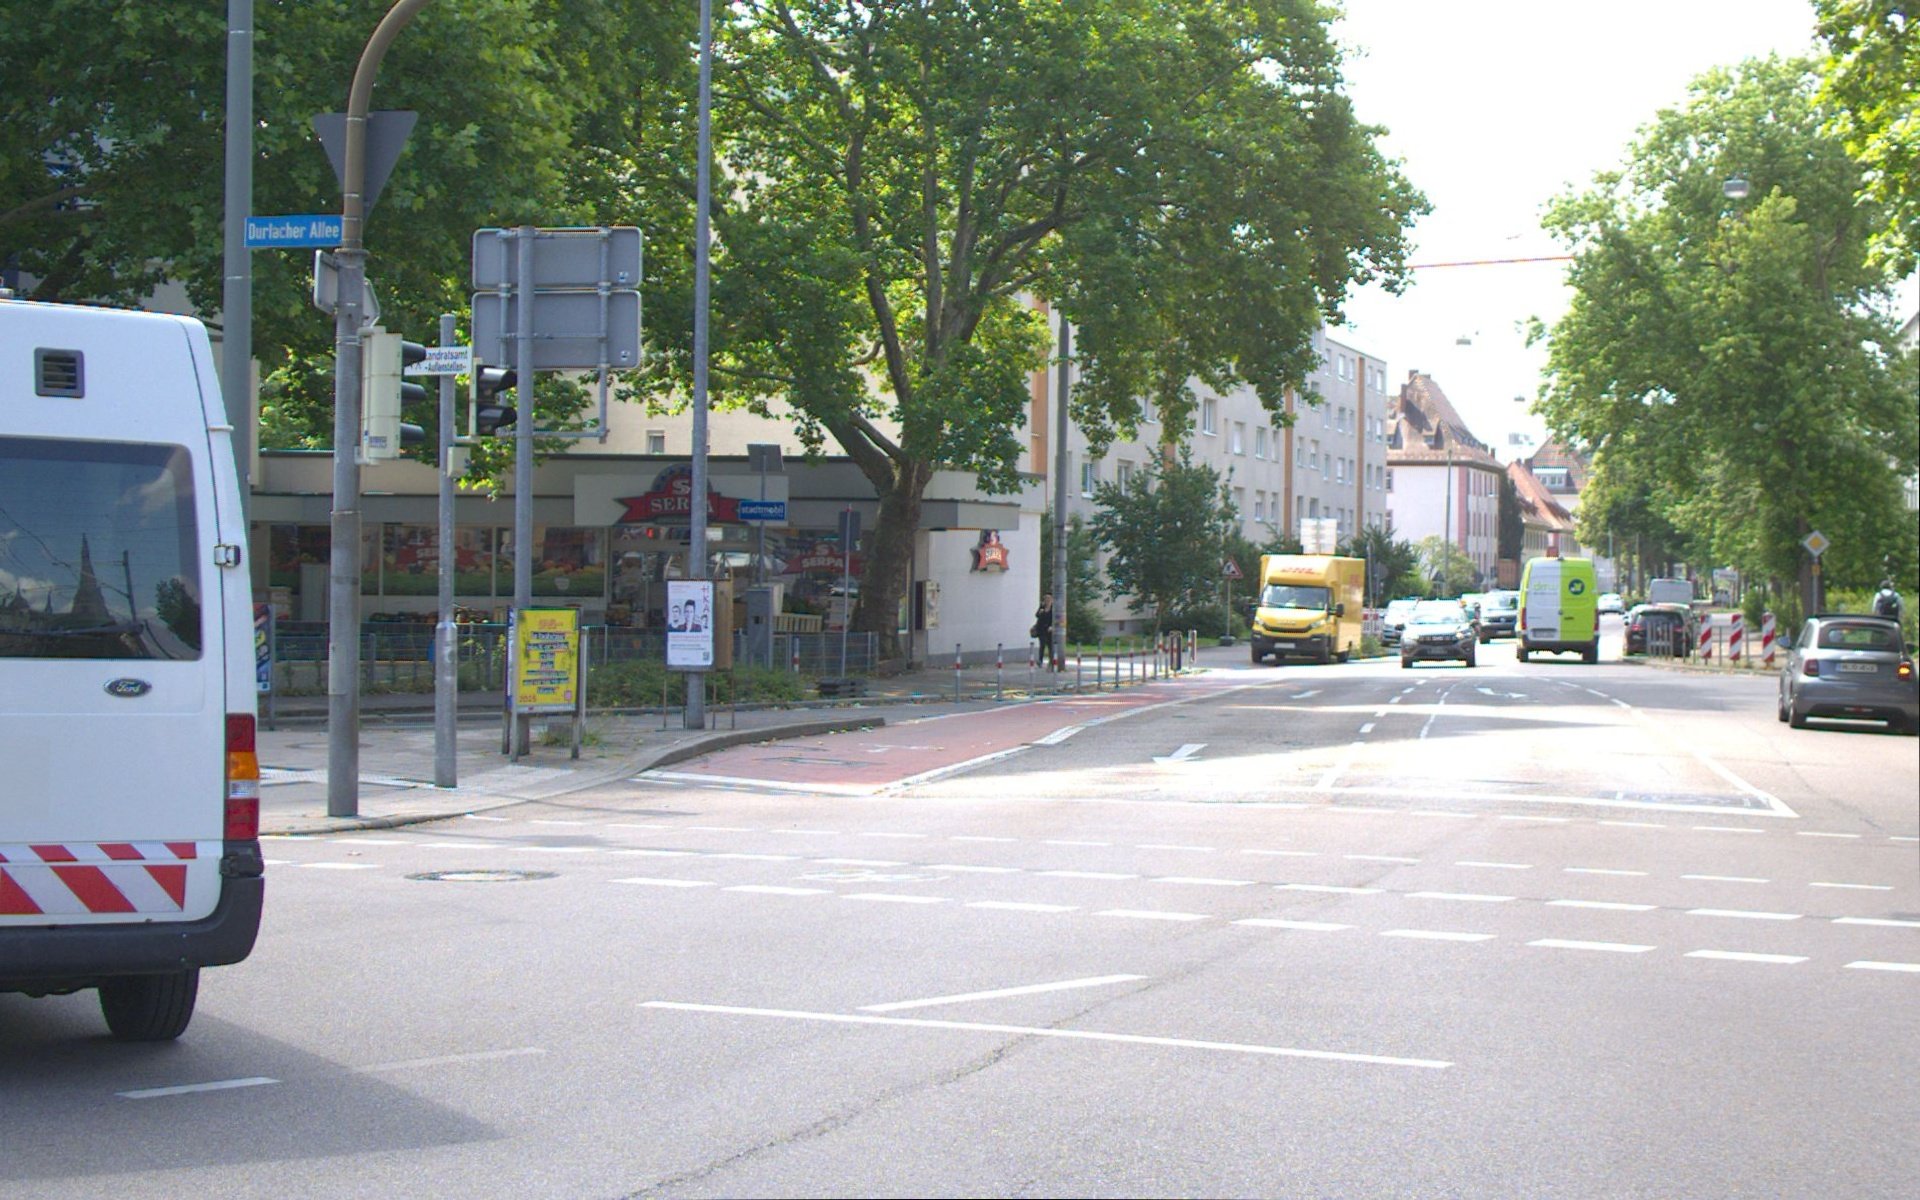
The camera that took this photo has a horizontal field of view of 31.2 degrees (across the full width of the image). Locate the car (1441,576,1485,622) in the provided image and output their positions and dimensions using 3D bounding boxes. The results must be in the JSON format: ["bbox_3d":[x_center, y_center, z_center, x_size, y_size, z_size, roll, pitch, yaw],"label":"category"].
[{"bbox_3d":[21.553,-0.063,147.173,1.653,1.925,3.747,0,1,12],"label":"car"}]

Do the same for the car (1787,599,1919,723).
[{"bbox_3d":[12.038,0.790,46.360,1.692,1.532,3.466,0,1,13],"label":"car"}]

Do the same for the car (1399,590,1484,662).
[{"bbox_3d":[11.654,0.604,83.032,1.787,1.655,4.314,0,1,11],"label":"car"}]

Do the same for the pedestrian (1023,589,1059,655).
[{"bbox_3d":[1.814,0.488,77.230,0.669,1.474,0.575,1,0,17],"label":"pedestrian"}]

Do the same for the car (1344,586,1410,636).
[{"bbox_3d":[13.215,0.330,108.759,1.846,1.557,3.998,0,0,10],"label":"car"}]

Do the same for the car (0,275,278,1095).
[{"bbox_3d":[-4.108,0.217,11.663,2.047,2.325,4.714,0,1,-31],"label":"car"}]

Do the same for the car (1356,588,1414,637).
[{"bbox_3d":[15.144,0.438,122.289,1.730,1.655,3.747,0,1,12],"label":"car"}]

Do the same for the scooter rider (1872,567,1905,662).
[{"bbox_3d":[17.812,0.276,65.945,0.526,1.806,0.649,0,1,8],"label":"scooter rider"}]

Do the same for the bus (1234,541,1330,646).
[{"bbox_3d":[8.661,-0.184,92.028,2.395,2.700,6.368,0,0,7],"label":"bus"}]

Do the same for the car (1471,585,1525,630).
[{"bbox_3d":[20.378,0.264,130.128,1.863,1.655,3.747,0,1,12],"label":"car"}]

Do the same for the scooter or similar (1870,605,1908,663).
[{"bbox_3d":[17.819,0.641,65.938,0.549,1.088,1.291,0,1,8],"label":"scooter or similar"}]

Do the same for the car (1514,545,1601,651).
[{"bbox_3d":[15.385,-0.104,88.665,2.120,2.632,6.326,0,1,9],"label":"car"}]

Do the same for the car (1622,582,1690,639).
[{"bbox_3d":[19.386,0.280,95.849,1.725,1.549,3.632,0,0,9],"label":"car"}]

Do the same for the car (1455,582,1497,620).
[{"bbox_3d":[23.314,0.030,155.154,1.660,1.655,3.747,0,1,12],"label":"car"}]
